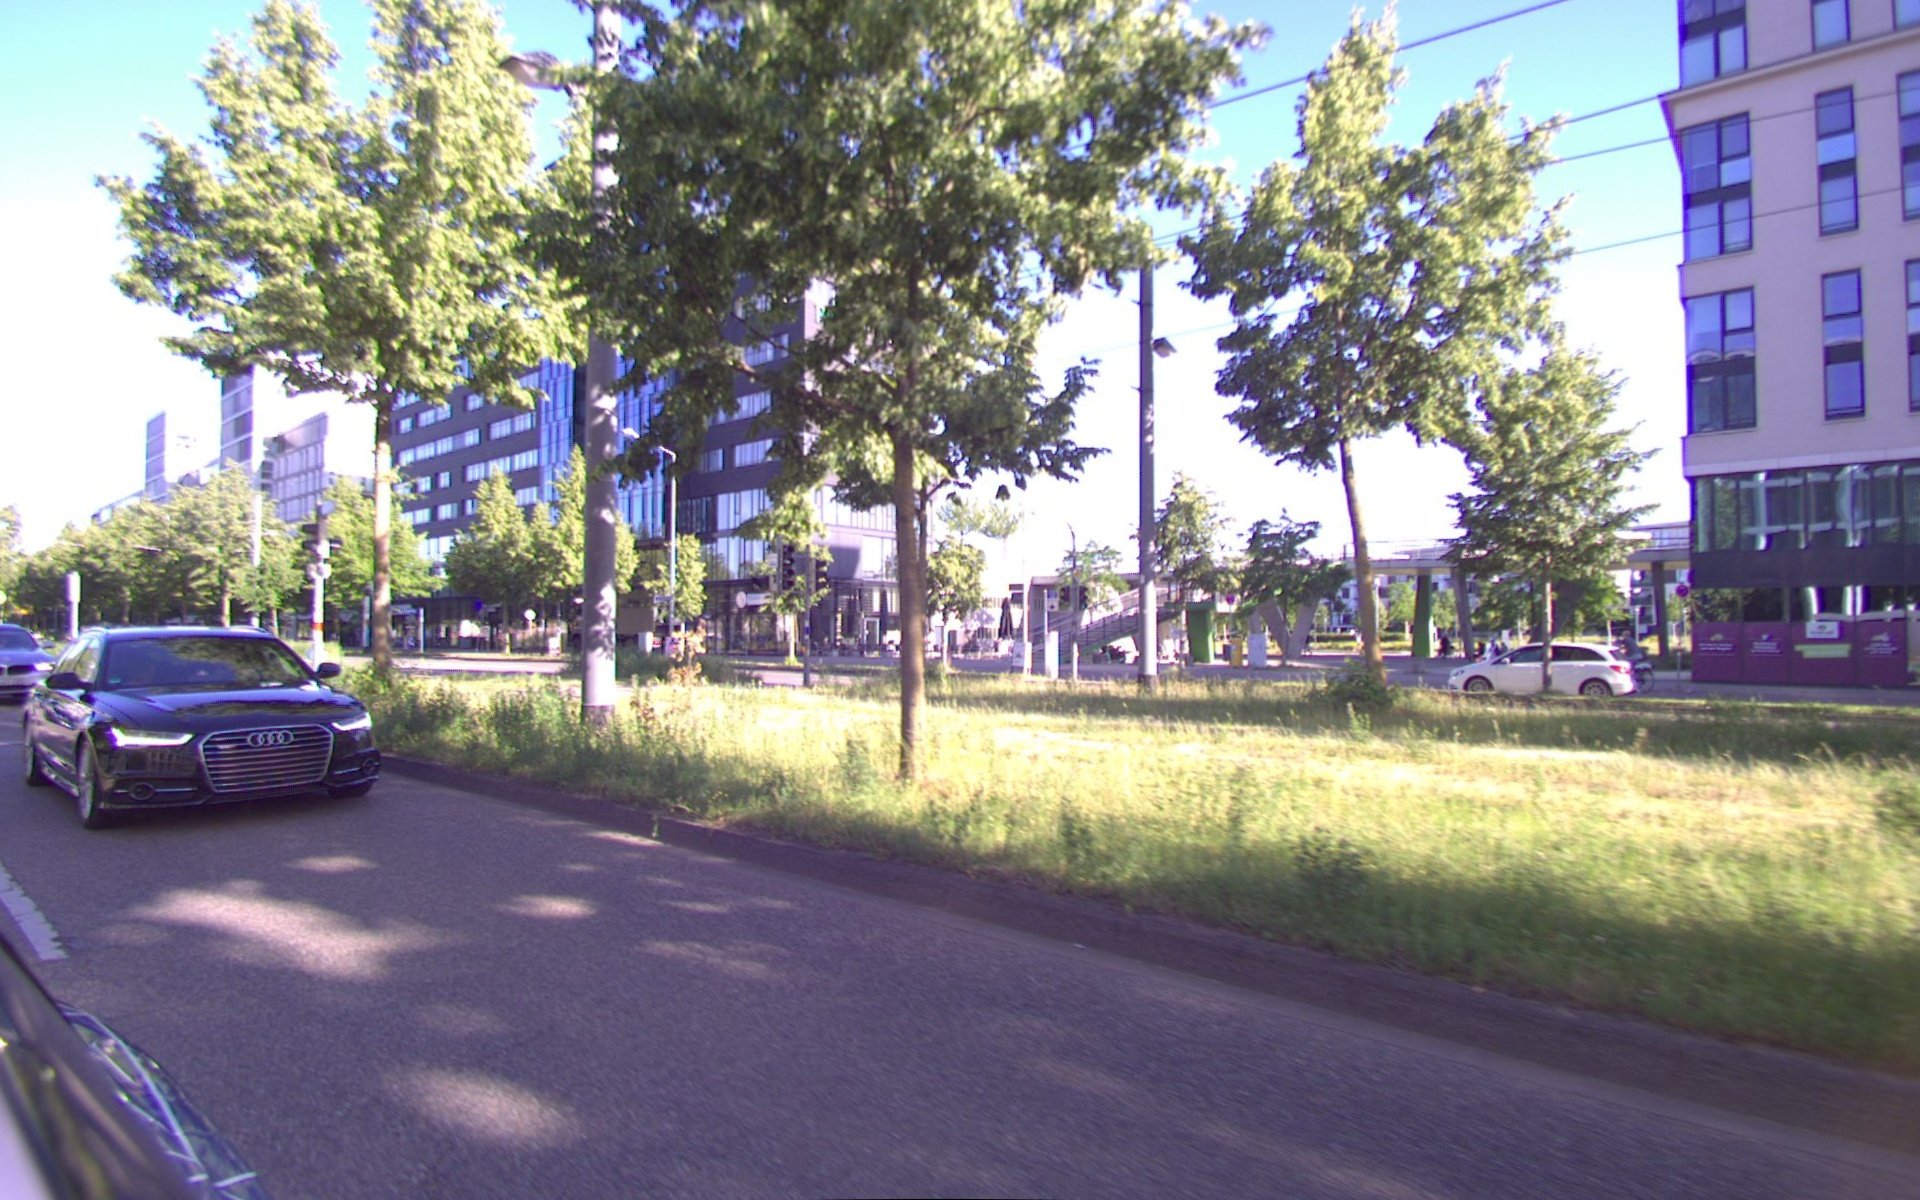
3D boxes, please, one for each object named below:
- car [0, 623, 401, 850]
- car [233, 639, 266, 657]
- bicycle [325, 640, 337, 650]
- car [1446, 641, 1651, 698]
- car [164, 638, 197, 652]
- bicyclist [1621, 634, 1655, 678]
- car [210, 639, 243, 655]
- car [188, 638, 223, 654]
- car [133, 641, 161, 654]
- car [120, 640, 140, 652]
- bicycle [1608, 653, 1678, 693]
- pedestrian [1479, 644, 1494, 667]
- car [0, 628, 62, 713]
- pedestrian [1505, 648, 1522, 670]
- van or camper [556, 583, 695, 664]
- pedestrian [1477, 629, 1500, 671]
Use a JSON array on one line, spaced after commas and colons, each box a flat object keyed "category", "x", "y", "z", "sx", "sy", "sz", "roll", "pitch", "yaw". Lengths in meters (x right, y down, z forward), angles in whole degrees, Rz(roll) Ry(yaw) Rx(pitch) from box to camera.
[{"category": "car", "x": -6.754, "y": 0.964, "z": 8.683, "sx": 4.501, "sy": 1.468, "sz": 1.791, "roll": -2, "pitch": -2, "yaw": 38}, {"category": "car", "x": -72.178, "y": 4.889, "z": 102.748, "sx": 3.998, "sy": 1.762, "sz": 1.834, "roll": -2, "pitch": -3, "yaw": 41}, {"category": "bicycle", "x": -65.490, "y": 4.700, "z": 105.391, "sx": 1.847, "sy": 1.041, "sz": 0.522, "roll": -2, "pitch": -2, "yaw": 41}, {"category": "car", "x": 15.449, "y": 1.774, "z": 26.712, "sx": 4.469, "sy": 1.352, "sz": 1.564, "roll": -2, "pitch": -3, "yaw": 41}, {"category": "car", "x": -95.211, "y": 5.508, "z": 123.622, "sx": 4.785, "sy": 1.712, "sz": 1.988, "roll": -2, "pitch": -3, "yaw": 38}, {"category": "bicyclist", "x": 20.281, "y": 1.661, "z": 30.263, "sx": 0.571, "sy": 1.303, "sz": 0.706, "roll": 1, "pitch": -2, "yaw": -43}, {"category": "car", "x": -79.850, "y": 5.107, "z": 110.117, "sx": 4.790, "sy": 1.697, "sz": 1.834, "roll": -2, "pitch": -3, "yaw": 41}, {"category": "car", "x": -87.254, "y": 5.303, "z": 117.033, "sx": 4.785, "sy": 1.712, "sz": 1.988, "roll": -2, "pitch": -3, "yaw": 38}, {"category": "car", "x": -108.441, "y": 6.320, "z": 135.031, "sx": 4.788, "sy": 1.712, "sz": 1.986, "roll": -2, "pitch": -3, "yaw": 40}, {"category": "car", "x": -116.468, "y": 6.485, "z": 142.001, "sx": 3.741, "sy": 1.682, "sz": 1.581, "roll": -2, "pitch": -3, "yaw": 41}, {"category": "bicycle", "x": 20.342, "y": 2.161, "z": 30.180, "sx": 0.522, "sy": 1.119, "sz": 1.639, "roll": 1, "pitch": -2, "yaw": -43}, {"category": "pedestrian", "x": 27.069, "y": 2.837, "z": 52.048, "sx": 0.600, "sy": 1.134, "sz": 0.434, "roll": -2, "pitch": -2, "yaw": 43}, {"category": "car", "x": -18.802, "y": 1.312, "z": 19.344, "sx": 4.739, "sy": 1.500, "sz": 1.789, "roll": -2, "pitch": -3, "yaw": 40}, {"category": "pedestrian", "x": 23.837, "y": 2.542, "z": 43.570, "sx": 0.428, "sy": 0.927, "sz": 0.599, "roll": -1, "pitch": -1, "yaw": 5}, {"category": "van or camper", "x": -19.188, "y": 1.394, "z": 57.557, "sx": 10.225, "sy": 4.224, "sz": 2.724, "roll": -2, "pitch": -3, "yaw": 42}, {"category": "pedestrian", "x": 22.932, "y": 2.158, "z": 43.937, "sx": 0.664, "sy": 1.785, "sz": 0.599, "roll": -1, "pitch": -1, "yaw": 5}]
